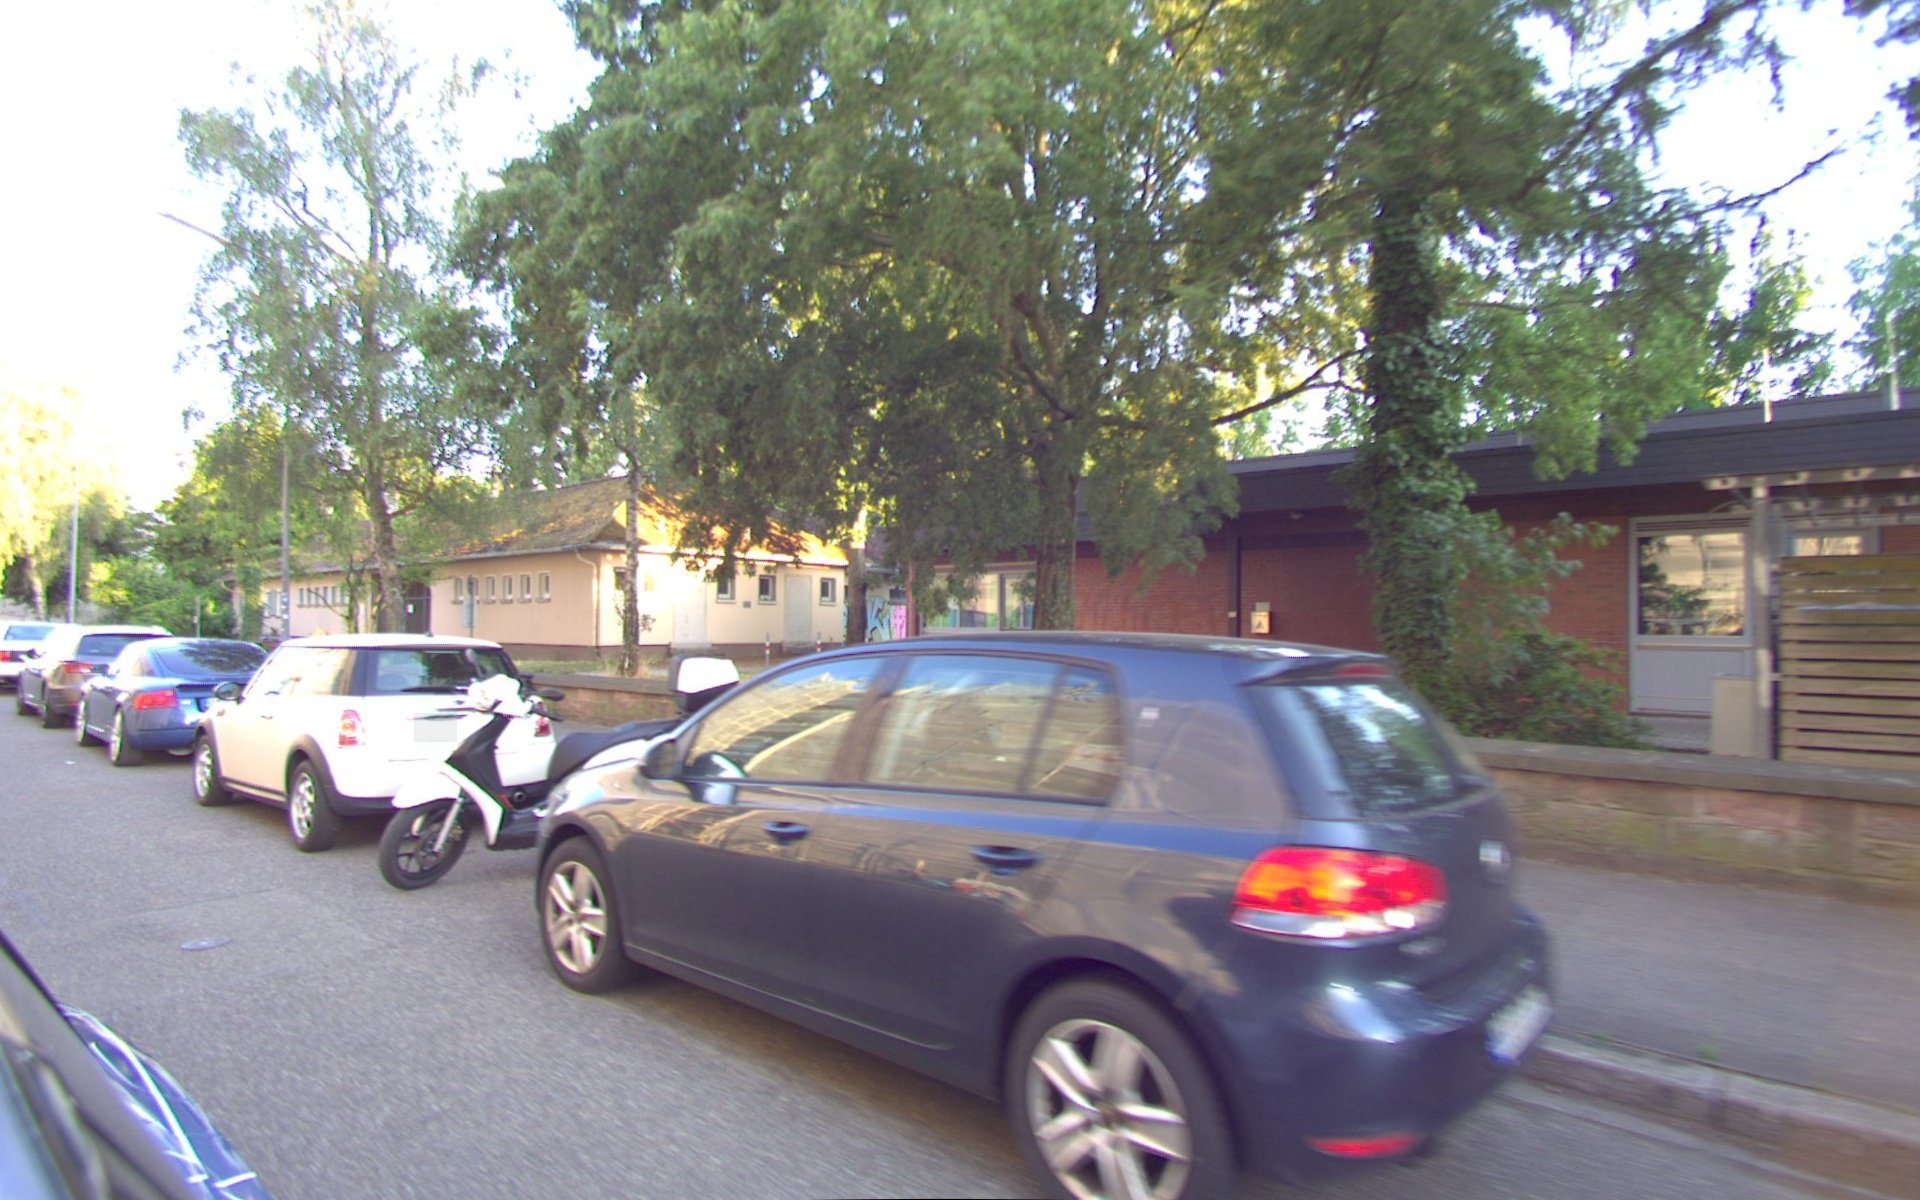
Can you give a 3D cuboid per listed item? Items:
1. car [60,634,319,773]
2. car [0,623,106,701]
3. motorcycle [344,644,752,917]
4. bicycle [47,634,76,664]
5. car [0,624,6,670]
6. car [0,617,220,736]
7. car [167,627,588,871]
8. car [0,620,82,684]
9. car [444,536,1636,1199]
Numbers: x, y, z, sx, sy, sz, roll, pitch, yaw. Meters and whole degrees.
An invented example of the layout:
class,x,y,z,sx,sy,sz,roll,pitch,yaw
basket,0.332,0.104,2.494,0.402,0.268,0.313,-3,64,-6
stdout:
class,x,y,z,sx,sy,sz,roll,pitch,yaw
car,-9.156,1.094,11.901,4.153,1.323,1.641,-1,-4,42
car,-19.387,1.234,20.998,4.745,1.457,1.764,-1,-5,41
motorcycle,-2.428,0.952,6.089,2.135,1.313,0.882,0,-1,-35
bicycle,-34.262,1.850,38.579,1.953,1.126,0.538,-2,-1,40
car,-32.517,1.507,32.801,4.287,1.464,1.972,-1,-2,42
car,-13.092,1.071,15.451,4.756,1.550,1.840,-1,-3,41
car,-4.665,0.974,7.901,3.801,1.442,1.584,-1,-5,40
car,-23.408,1.247,24.946,3.995,1.464,1.974,-1,-2,38
car,-0.131,0.712,3.873,4.357,1.507,1.698,-1,-4,40
